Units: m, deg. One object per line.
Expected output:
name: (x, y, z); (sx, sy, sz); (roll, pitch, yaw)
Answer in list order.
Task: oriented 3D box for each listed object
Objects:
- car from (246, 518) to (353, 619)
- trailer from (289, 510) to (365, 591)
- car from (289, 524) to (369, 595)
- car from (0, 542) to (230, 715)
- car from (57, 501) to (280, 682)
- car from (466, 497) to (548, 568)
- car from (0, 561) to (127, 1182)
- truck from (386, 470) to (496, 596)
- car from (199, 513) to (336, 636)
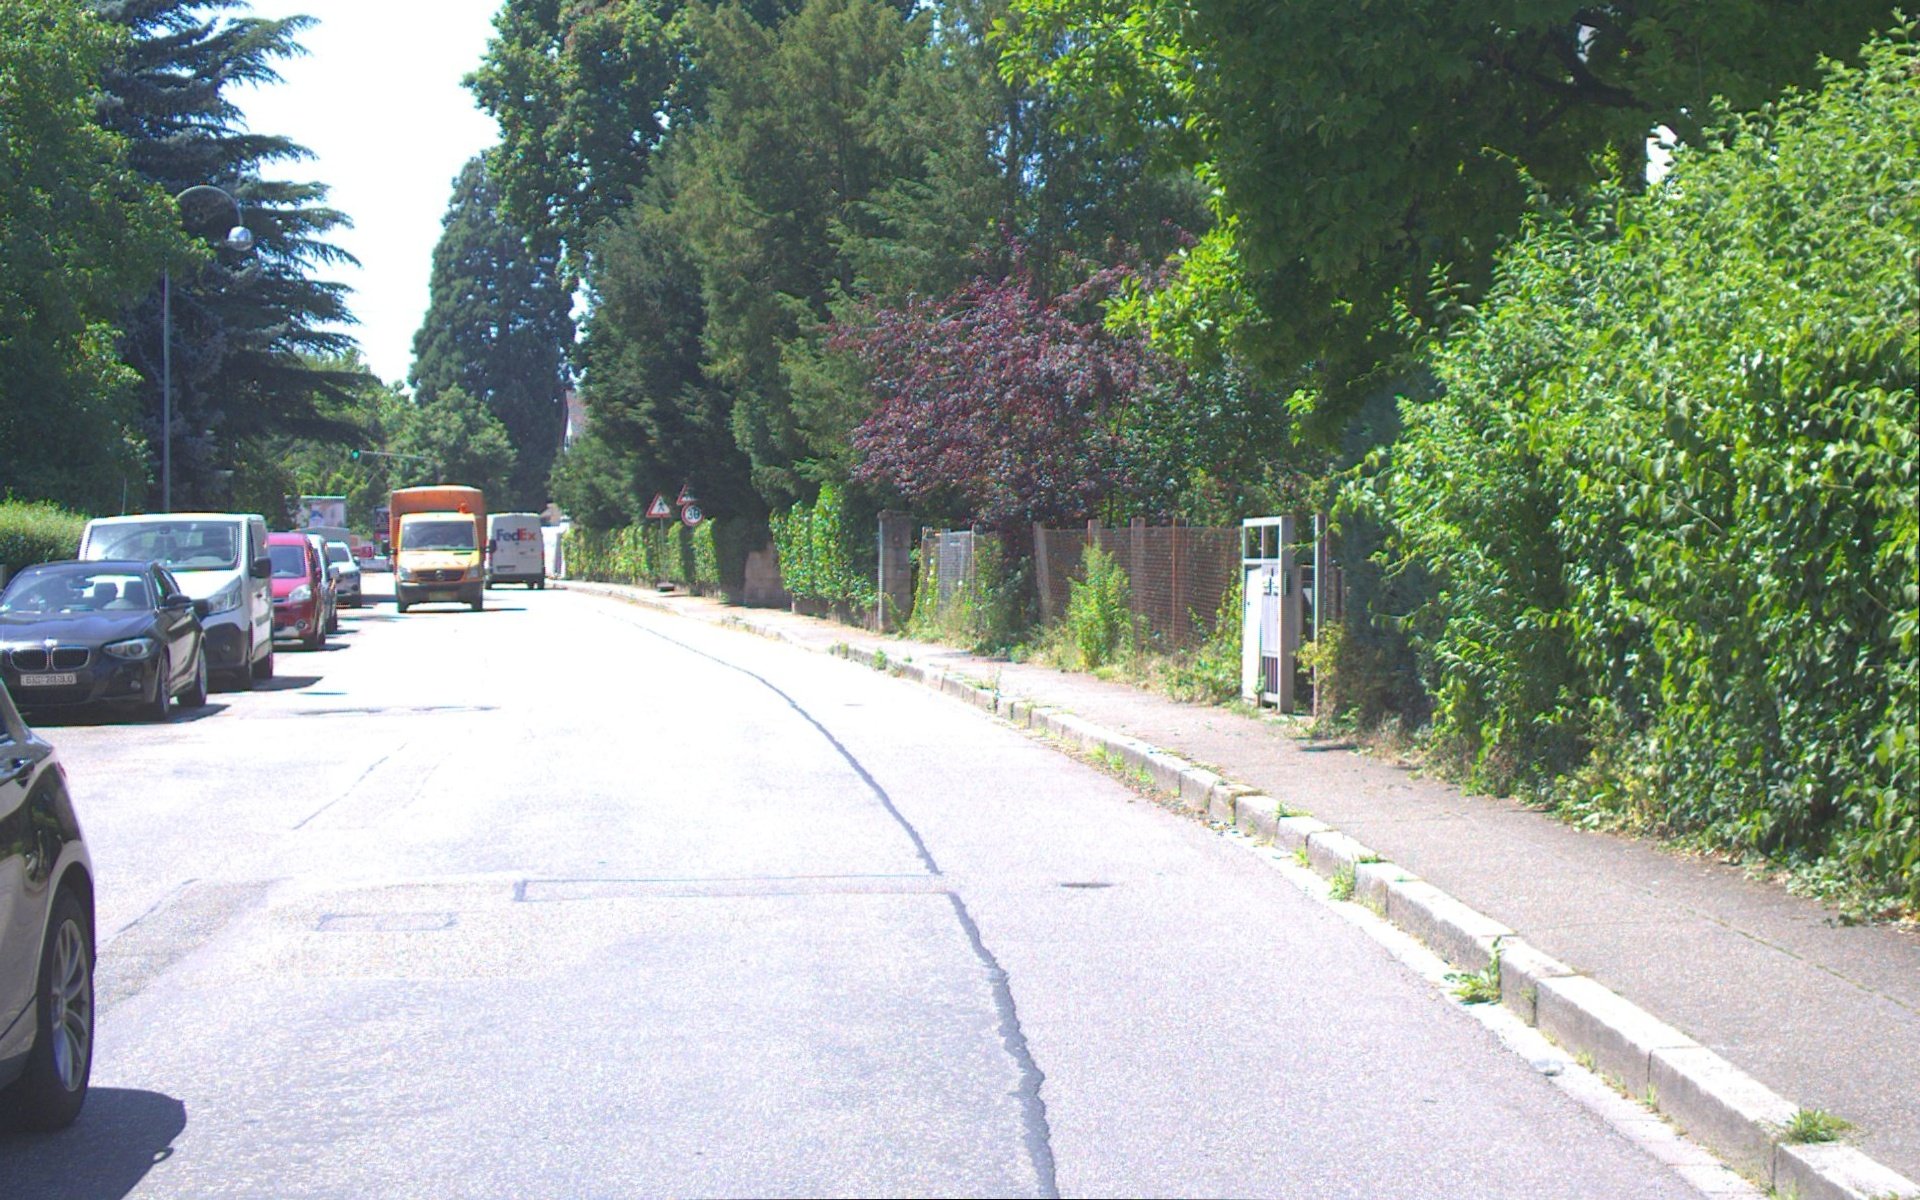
car: (-12.116, -0.607, 63.230); (1.647, 1.746, 4.355); (-1, 1, -8)
trailer: (-16.657, -1.306, 90.333); (1.847, 2.033, 4.164); (-2, 1, -11)
car: (-15.806, -1.034, 85.980); (1.850, 1.665, 4.714); (-2, 1, -11)
car: (-7.754, 0.208, 31.221); (1.698, 1.379, 4.236); (-2, 2, -6)
car: (-8.770, -0.122, 38.455); (1.886, 1.875, 4.982); (-1, 1, -7)
car: (-15.525, -2.324, 117.629); (2.143, 2.307, 4.854); (-2, 2, -14)
car: (-3.041, 0.646, 7.228); (1.732, 1.412, 4.000); (-1, 1, -2)
truck: (-12.239, -1.585, 80.773); (2.372, 2.820, 5.660); (-1, 1, -10)
car: (-10.418, -0.422, 51.941); (1.757, 1.721, 4.459); (-2, 2, -8)
